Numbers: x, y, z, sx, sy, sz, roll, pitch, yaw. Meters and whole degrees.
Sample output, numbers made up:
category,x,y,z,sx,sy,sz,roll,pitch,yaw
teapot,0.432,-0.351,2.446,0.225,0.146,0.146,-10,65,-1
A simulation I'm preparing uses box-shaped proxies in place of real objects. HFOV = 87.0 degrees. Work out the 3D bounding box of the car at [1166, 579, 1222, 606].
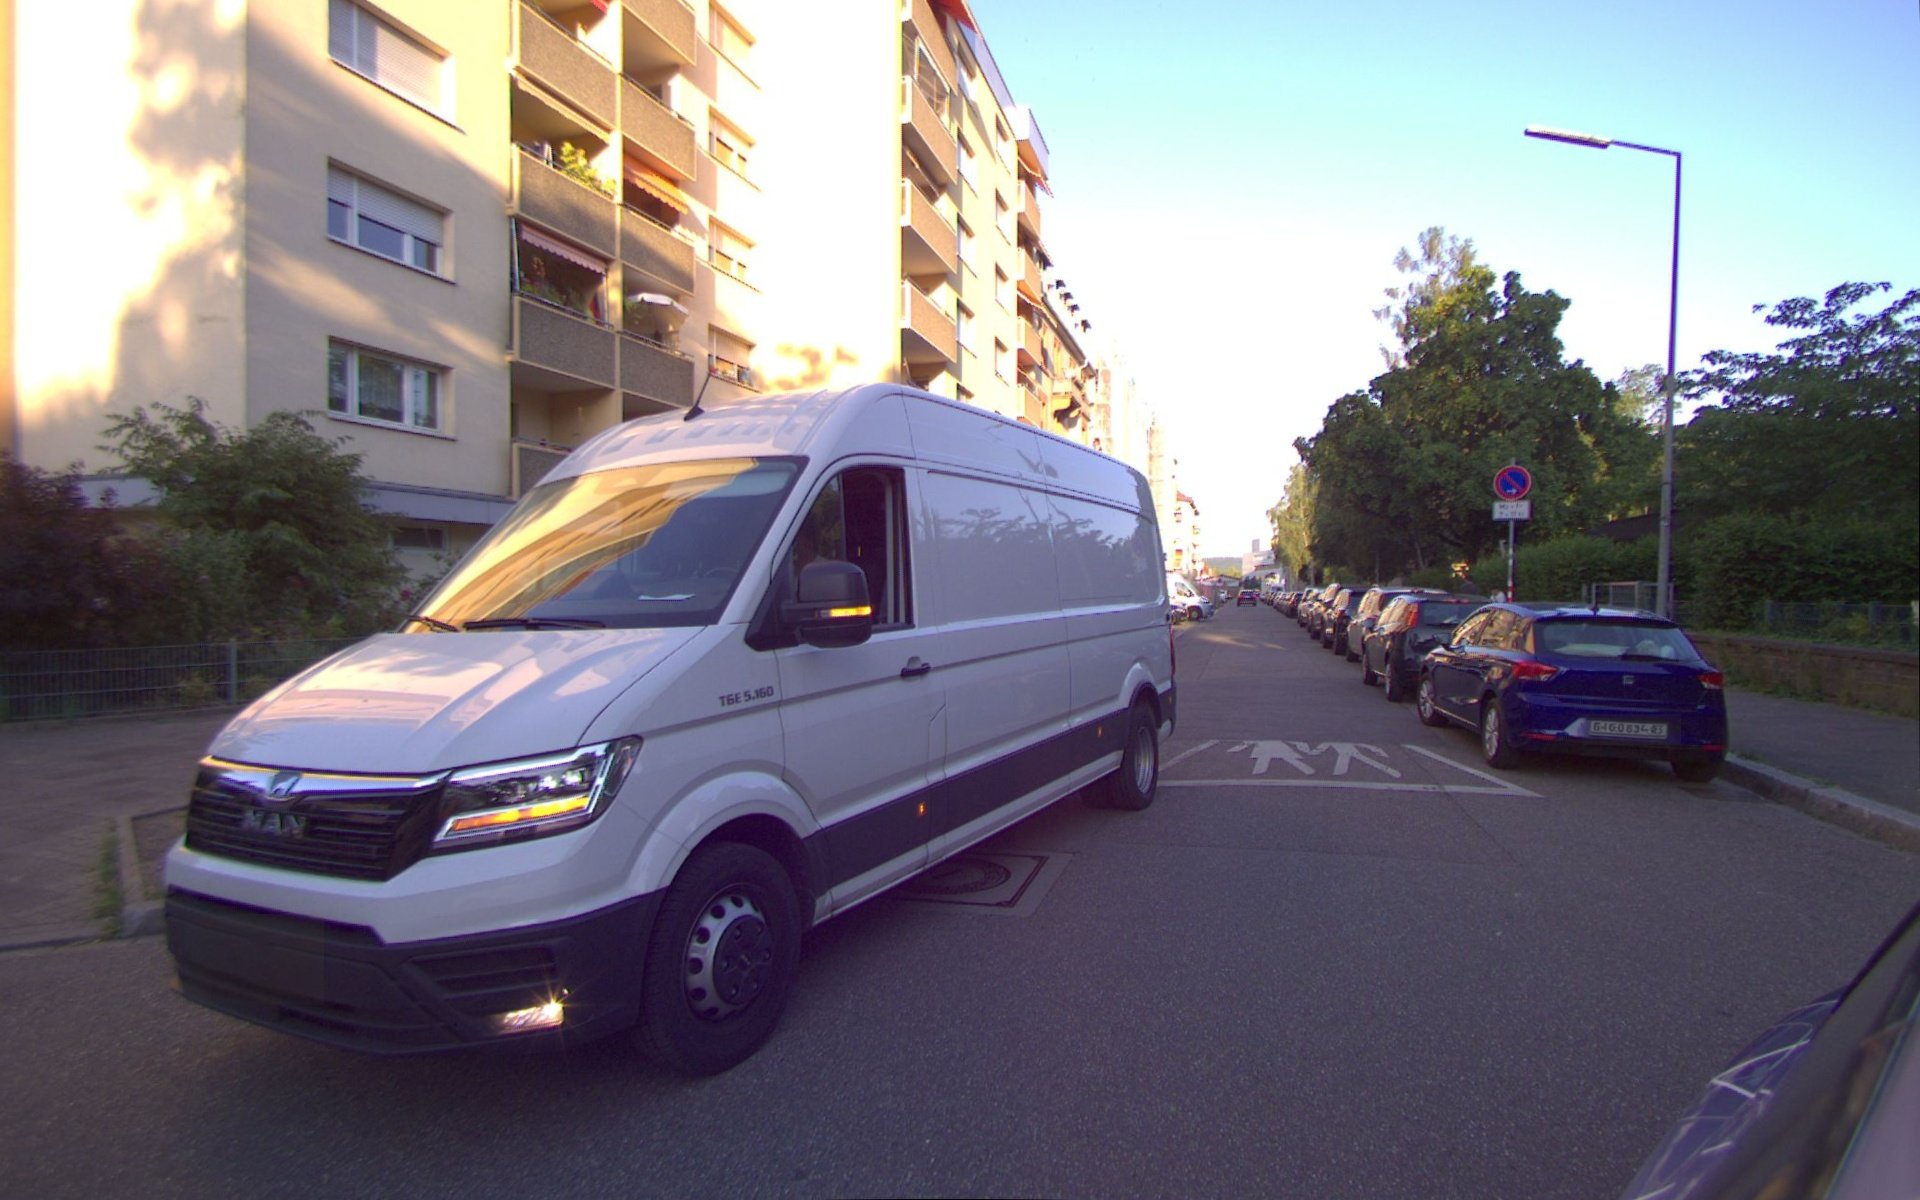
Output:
category,x,y,z,sx,sy,sz,roll,pitch,yaw
car,18.449,-0.636,79.818,4.134,2.023,1.734,1,1,18

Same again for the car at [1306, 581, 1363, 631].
category,x,y,z,sx,sy,sz,roll,pitch,yaw
car,12.600,0.164,34.140,1.512,1.605,2.940,1,1,15

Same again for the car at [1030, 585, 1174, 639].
category,x,y,z,sx,sy,sz,roll,pitch,yaw
car,4.311,0.330,30.671,4.088,1.479,1.734,1,1,18

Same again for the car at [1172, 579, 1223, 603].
category,x,y,z,sx,sy,sz,roll,pitch,yaw
car,20.424,-0.773,86.996,4.134,2.023,1.829,1,1,18

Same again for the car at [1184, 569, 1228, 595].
category,x,y,z,sx,sy,sz,roll,pitch,yaw
car,24.147,-1.766,99.389,4.134,2.506,1.829,1,1,18

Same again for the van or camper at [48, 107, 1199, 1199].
category,x,y,z,sx,sy,sz,roll,pitch,yaw
van or camper,-0.505,0.143,5.844,2.076,2.623,6.806,-1,0,27

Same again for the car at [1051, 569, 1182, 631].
category,x,y,z,sx,sy,sz,roll,pitch,yaw
car,5.468,-0.035,35.343,4.305,2.022,1.734,1,1,18

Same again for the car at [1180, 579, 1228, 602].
category,x,y,z,sx,sy,sz,roll,pitch,yaw
car,22.502,-0.890,93.326,4.134,2.023,1.829,1,1,18

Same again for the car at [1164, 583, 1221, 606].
category,x,y,z,sx,sy,sz,roll,pitch,yaw
car,17.703,-0.410,77.035,4.134,1.680,1.734,1,1,18

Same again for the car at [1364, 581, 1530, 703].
category,x,y,z,sx,sy,sz,roll,pitch,yaw
car,6.871,0.496,14.606,1.512,1.503,3.495,1,1,15

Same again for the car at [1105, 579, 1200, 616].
category,x,y,z,sx,sy,sz,roll,pitch,yaw
car,9.268,-0.164,48.672,4.305,1.680,1.734,1,1,18

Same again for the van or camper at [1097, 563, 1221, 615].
category,x,y,z,sx,sy,sz,roll,pitch,yaw
van or camper,10.246,-0.587,52.059,6.022,2.521,2.184,1,1,18

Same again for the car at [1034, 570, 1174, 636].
category,x,y,z,sx,sy,sz,roll,pitch,yaw
car,4.717,0.050,33.147,4.305,2.022,1.734,1,1,18

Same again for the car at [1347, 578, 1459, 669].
category,x,y,z,sx,sy,sz,roll,pitch,yaw
car,8.540,0.385,19.724,1.512,1.605,3.115,1,1,15

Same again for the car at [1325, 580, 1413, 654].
category,x,y,z,sx,sy,sz,roll,pitch,yaw
car,9.660,0.337,24.121,1.512,1.605,3.386,1,1,15

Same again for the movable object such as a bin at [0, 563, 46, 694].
category,x,y,z,sx,sy,sz,roll,pitch,yaw
movable object such as a bin,-11.695,0.309,11.611,1.561,1.489,1.180,1,1,17

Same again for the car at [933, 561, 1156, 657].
category,x,y,z,sx,sy,sz,roll,pitch,yaw
car,2.047,0.152,24.339,5.012,2.111,1.988,1,1,19

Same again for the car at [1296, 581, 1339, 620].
category,x,y,z,sx,sy,sz,roll,pitch,yaw
car,15.215,-0.008,43.169,1.512,1.605,2.940,1,1,15

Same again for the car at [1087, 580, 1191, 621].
category,x,y,z,sx,sy,sz,roll,pitch,yaw
car,7.817,-0.008,44.122,4.305,1.680,1.734,1,1,18

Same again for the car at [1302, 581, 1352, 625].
category,x,y,z,sx,sy,sz,roll,pitch,yaw
car,14.039,0.076,38.807,1.512,1.605,2.940,1,1,15

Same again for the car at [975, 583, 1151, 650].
category,x,y,z,sx,sy,sz,roll,pitch,yaw
car,2.703,0.380,26.362,4.307,1.563,1.734,1,1,18

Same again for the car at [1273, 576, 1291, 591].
category,x,y,z,sx,sy,sz,roll,pitch,yaw
car,35.757,-1.828,112.326,1.778,1.605,2.940,1,1,15

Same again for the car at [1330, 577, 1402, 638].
category,x,y,z,sx,sy,sz,roll,pitch,yaw
car,11.403,0.168,28.559,1.512,1.605,2.940,1,1,15

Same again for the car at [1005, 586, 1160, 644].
category,x,y,z,sx,sy,sz,roll,pitch,yaw
car,3.449,0.378,28.462,4.088,1.479,1.734,1,1,18

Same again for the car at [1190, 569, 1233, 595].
category,x,y,z,sx,sy,sz,roll,pitch,yaw
car,25.539,-1.824,102.749,4.134,2.506,1.829,1,1,18

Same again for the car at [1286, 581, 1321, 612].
category,x,y,z,sx,sy,sz,roll,pitch,yaw
car,18.201,-0.208,53.704,1.512,1.605,2.940,1,1,15

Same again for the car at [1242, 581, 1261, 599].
category,x,y,z,sx,sy,sz,roll,pitch,yaw
car,28.828,-0.982,100.016,1.720,1.680,4.338,1,1,18

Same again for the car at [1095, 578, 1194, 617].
category,x,y,z,sx,sy,sz,roll,pitch,yaw
car,8.532,-0.130,46.770,4.305,1.680,1.734,1,1,18

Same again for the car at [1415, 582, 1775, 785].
category,x,y,z,sx,sy,sz,roll,pitch,yaw
car,5.712,0.593,9.685,1.697,1.503,3.777,1,1,12

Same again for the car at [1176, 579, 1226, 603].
category,x,y,z,sx,sy,sz,roll,pitch,yaw
car,21.371,-0.821,89.657,4.134,2.023,1.829,1,1,18
